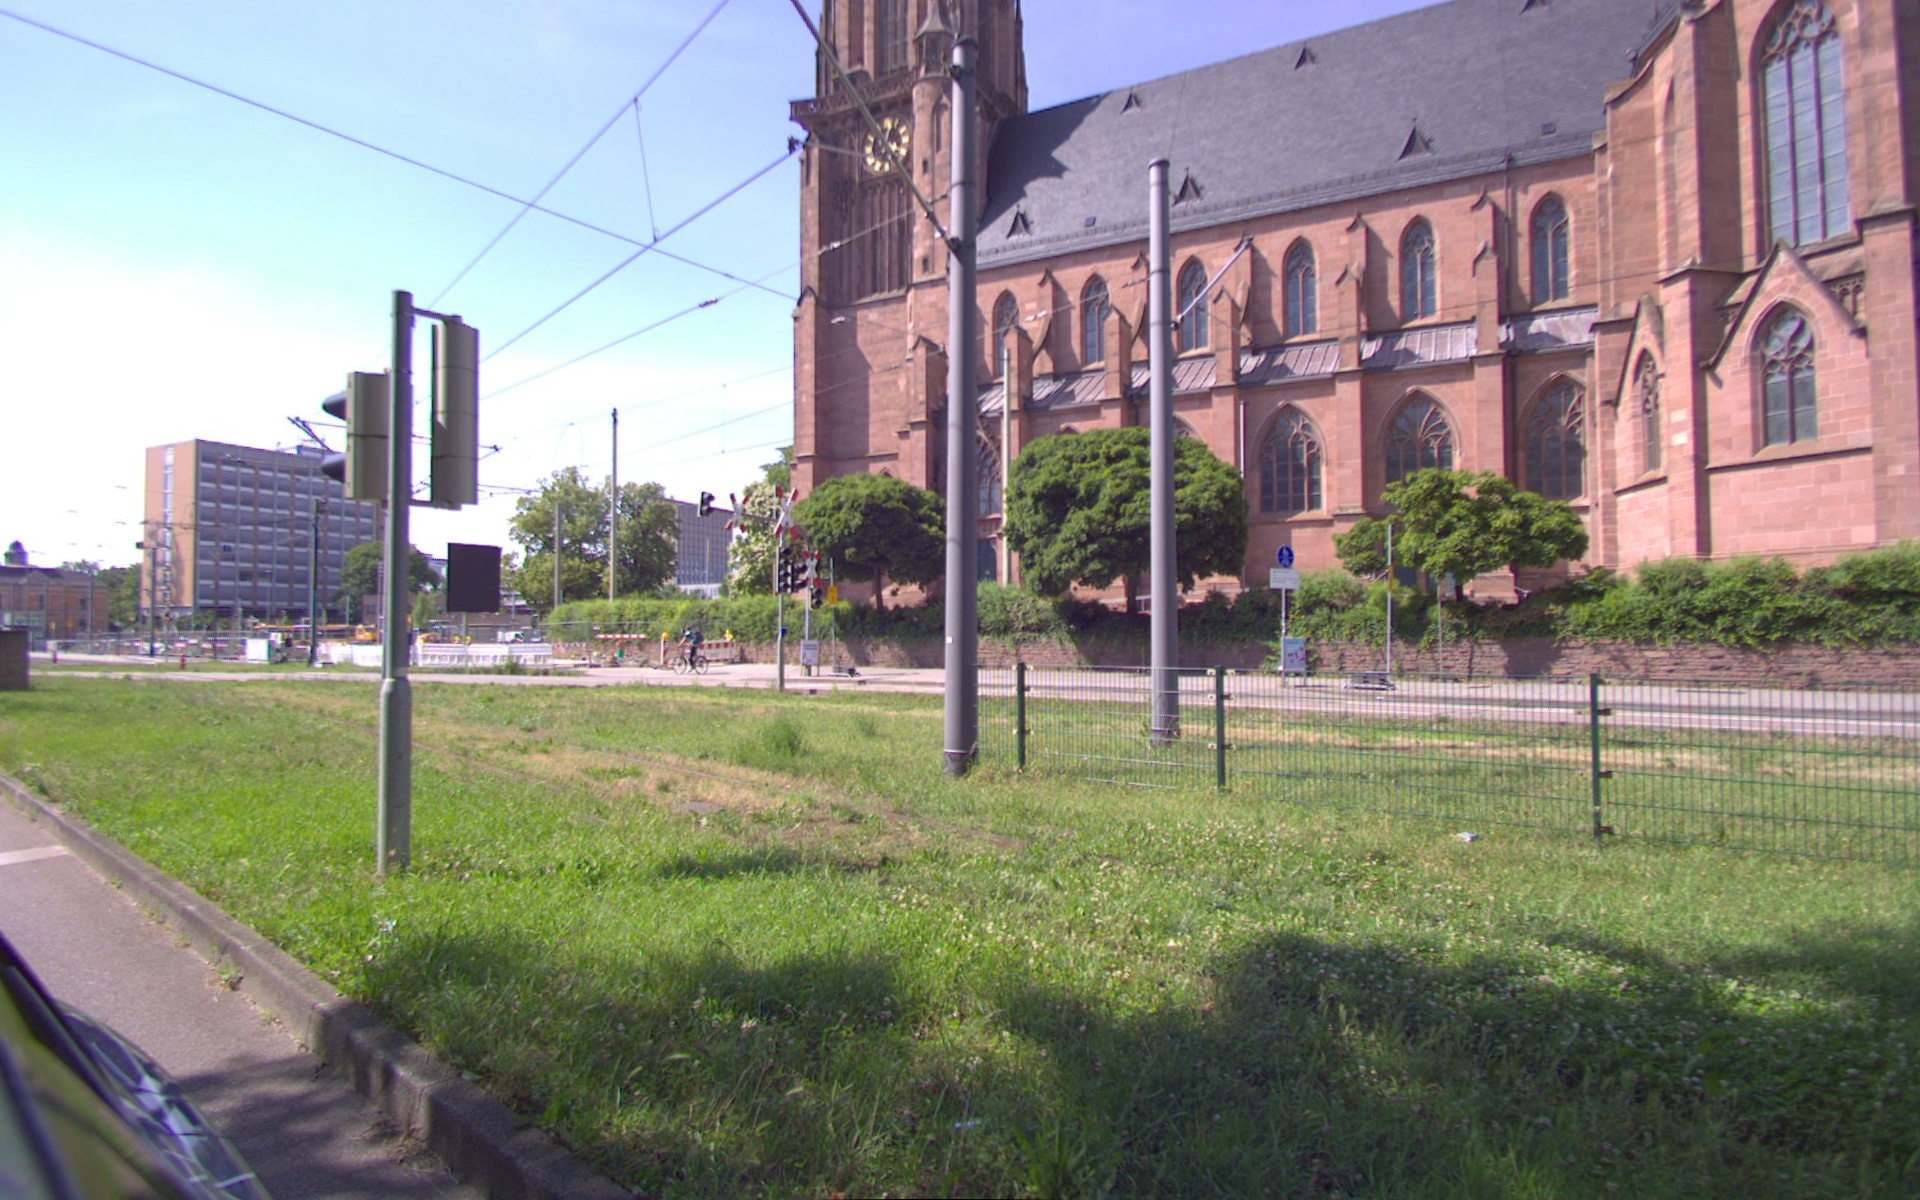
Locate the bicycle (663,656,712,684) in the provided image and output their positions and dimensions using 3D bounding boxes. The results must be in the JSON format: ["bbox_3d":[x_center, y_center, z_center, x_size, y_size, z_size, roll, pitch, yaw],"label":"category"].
[{"bbox_3d":[-10.693,2.732,39.681,1.962,1.054,0.650,-2,-3,31],"label":"bicycle"}]

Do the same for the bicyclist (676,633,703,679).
[{"bbox_3d":[-10.599,2.192,39.659,0.791,1.775,0.639,-2,-3,31],"label":"bicyclist"}]

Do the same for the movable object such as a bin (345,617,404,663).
[{"bbox_3d":[-50.068,3.439,86.590,2.903,3.911,3.329,-1,-3,6],"label":"movable object such as a bin"}]
